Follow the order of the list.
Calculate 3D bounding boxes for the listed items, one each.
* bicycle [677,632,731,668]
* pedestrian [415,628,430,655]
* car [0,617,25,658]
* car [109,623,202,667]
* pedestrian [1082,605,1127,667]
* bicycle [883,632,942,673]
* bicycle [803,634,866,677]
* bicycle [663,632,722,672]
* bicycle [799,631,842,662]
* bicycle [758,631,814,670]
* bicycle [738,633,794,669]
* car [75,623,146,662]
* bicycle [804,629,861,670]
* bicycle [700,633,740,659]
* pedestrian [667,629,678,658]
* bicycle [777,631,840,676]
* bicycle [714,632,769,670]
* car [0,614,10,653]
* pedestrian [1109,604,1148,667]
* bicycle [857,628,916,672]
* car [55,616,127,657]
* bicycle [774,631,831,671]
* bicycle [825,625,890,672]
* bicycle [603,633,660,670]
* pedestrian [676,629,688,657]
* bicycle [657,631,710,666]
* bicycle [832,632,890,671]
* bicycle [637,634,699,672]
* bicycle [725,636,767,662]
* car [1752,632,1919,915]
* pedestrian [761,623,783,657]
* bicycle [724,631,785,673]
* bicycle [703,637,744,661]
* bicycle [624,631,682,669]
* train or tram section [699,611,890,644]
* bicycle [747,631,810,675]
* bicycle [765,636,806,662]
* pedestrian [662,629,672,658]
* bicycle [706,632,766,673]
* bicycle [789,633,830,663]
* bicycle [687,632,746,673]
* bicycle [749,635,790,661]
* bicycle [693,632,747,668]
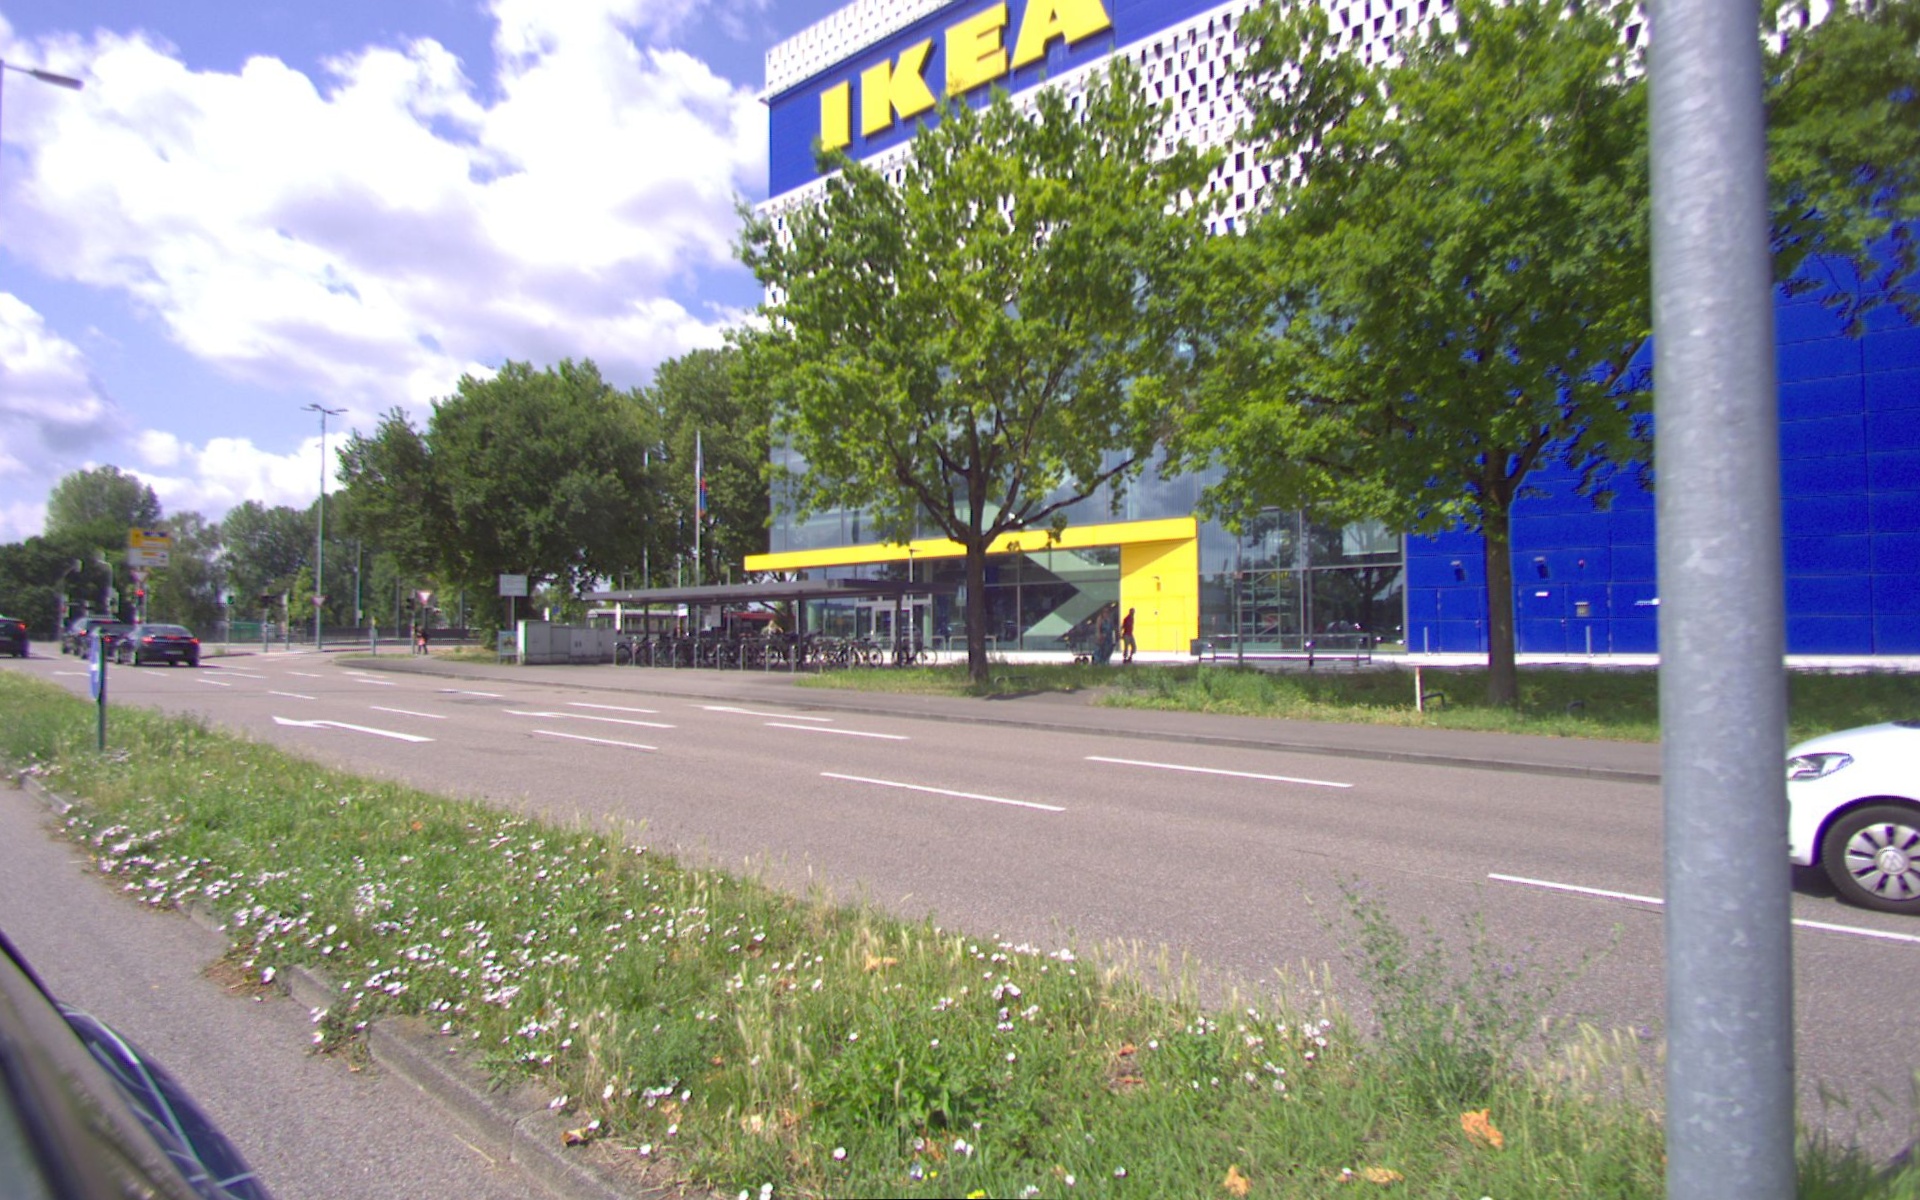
[{"bbox_3d":[-9.453,1.835,37.390,0.629,1.282,1.905,-3,-3,40],"label":"bicycle"},{"bbox_3d":[-30.052,2.345,56.624,0.616,1.502,0.435,-1,-2,24],"label":"pedestrian"},{"bbox_3d":[-37.031,1.382,38.519,4.129,1.505,1.587,-1,-4,41],"label":"car"},{"bbox_3d":[-28.092,1.547,35.304,4.516,1.432,1.646,-1,-4,41],"label":"car"},{"bbox_3d":[4.114,1.017,28.748,0.886,1.715,0.940,-2,-2,41],"label":"pedestrian"},{"bbox_3d":[-1.413,1.560,30.502,0.629,1.193,1.905,-3,-3,40],"label":"bicycle"},{"bbox_3d":[-3.641,1.593,29.472,0.629,1.192,1.905,-3,-3,40],"label":"bicycle"},{"bbox_3d":[-9.053,1.747,34.257,0.629,1.282,1.905,-3,-3,40],"label":"bicycle"},{"bbox_3d":[-5.794,1.902,41.996,0.596,1.253,1.927,-1,-2,36],"label":"bicycle"},{"bbox_3d":[-5.889,1.696,34.398,0.629,1.282,1.905,-3,-3,40],"label":"bicycle"},{"bbox_3d":[-6.690,1.758,34.985,0.629,1.192,1.905,-3,-3,40],"label":"bicycle"},{"bbox_3d":[-32.697,1.634,38.920,4.094,1.402,1.396,-1,-5,41],"label":"car"},{"bbox_3d":[-4.102,1.586,32.680,0.629,1.282,1.905,-3,-3,40],"label":"bicycle"},{"bbox_3d":[-10.979,2.096,46.338,0.467,1.181,1.938,-3,-3,36],"label":"bicycle"},{"bbox_3d":[-17.244,2.609,60.742,0.515,1.716,0.405,-3,-3,35],"label":"pedestrian"},{"bbox_3d":[-4.514,1.576,30.226,0.629,1.282,1.905,-3,-3,40],"label":"bicycle"},{"bbox_3d":[-7.740,1.789,35.870,0.629,1.282,1.905,-3,-3,40],"label":"bicycle"},{"bbox_3d":[-42.117,1.372,43.232,4.375,1.632,1.690,-1,-4,40],"label":"car"},{"bbox_3d":[5.013,1.054,30.153,0.886,1.836,0.746,-2,-2,41],"label":"pedestrian"},{"bbox_3d":[-2.251,1.525,31.128,0.629,1.282,1.905,-3,-3,40],"label":"bicycle"},{"bbox_3d":[-38.202,1.609,44.465,3.998,1.627,1.752,0,-4,41],"label":"car"},{"bbox_3d":[-5.213,1.673,33.623,0.629,1.282,1.905,-3,-3,40],"label":"bicycle"},{"bbox_3d":[-2.885,1.359,28.686,0.629,1.282,1.905,-3,-3,40],"label":"bicycle"},{"bbox_3d":[-11.870,1.847,36.604,0.629,1.282,1.905,-3,-3,40],"label":"bicycle"},{"bbox_3d":[-16.968,2.644,61.796,0.409,1.716,0.522,-2,-3,32],"label":"pedestrian"},{"bbox_3d":[-10.453,1.827,38.273,0.629,1.282,1.905,-3,-3,40],"label":"bicycle"},{"bbox_3d":[-3.096,1.598,31.822,0.629,1.188,1.905,-3,-3,40],"label":"bicycle"},{"bbox_3d":[-10.093,1.817,35.077,0.629,1.282,2.067,-3,-3,40],"label":"bicycle"},{"bbox_3d":[-9.449,2.155,44.728,0.528,1.078,1.916,-1,-2,36],"label":"bicycle"},{"bbox_3d":[6.318,0.902,5.035,3.668,1.440,1.626,-2,-4,41],"label":"car"},{"bbox_3d":[-9.721,2.056,52.311,0.710,1.719,0.886,-1,-2,40],"label":"pedestrian"},{"bbox_3d":[-6.484,1.635,32.009,0.629,1.282,1.905,-3,-3,40],"label":"bicycle"},{"bbox_3d":[-10.658,2.198,45.703,0.528,1.078,1.916,-1,-2,36],"label":"bicycle"},{"bbox_3d":[-10.832,1.759,35.751,0.629,1.282,1.905,-3,-3,40],"label":"bicycle"},{"bbox_3d":[-18.070,3.324,115.453,4.526,3.055,24.796,-2,-4,39],"label":"train or tram section"},{"bbox_3d":[-5.537,1.601,30.976,0.629,1.282,1.905,-3,-3,40],"label":"bicycle"},{"bbox_3d":[-7.475,2.110,43.403,0.528,1.078,1.916,-1,-2,36],"label":"bicycle"},{"bbox_3d":[-17.688,2.606,61.070,0.449,1.716,0.399,-3,-3,35],"label":"pedestrian"},{"bbox_3d":[-7.249,1.678,32.761,0.629,1.282,1.905,-3,-3,40],"label":"bicycle"},{"bbox_3d":[-6.294,2.004,42.426,0.528,1.219,1.916,-1,-2,36],"label":"bicycle"},{"bbox_3d":[-8.044,1.728,33.494,0.629,1.282,1.905,-3,-3,40],"label":"bicycle"},{"bbox_3d":[-8.267,2.078,44.035,0.519,1.098,1.911,-3,-3,37],"label":"bicycle"},{"bbox_3d":[-8.698,1.803,36.784,0.629,1.282,1.905,-3,-3,40],"label":"bicycle"}]
